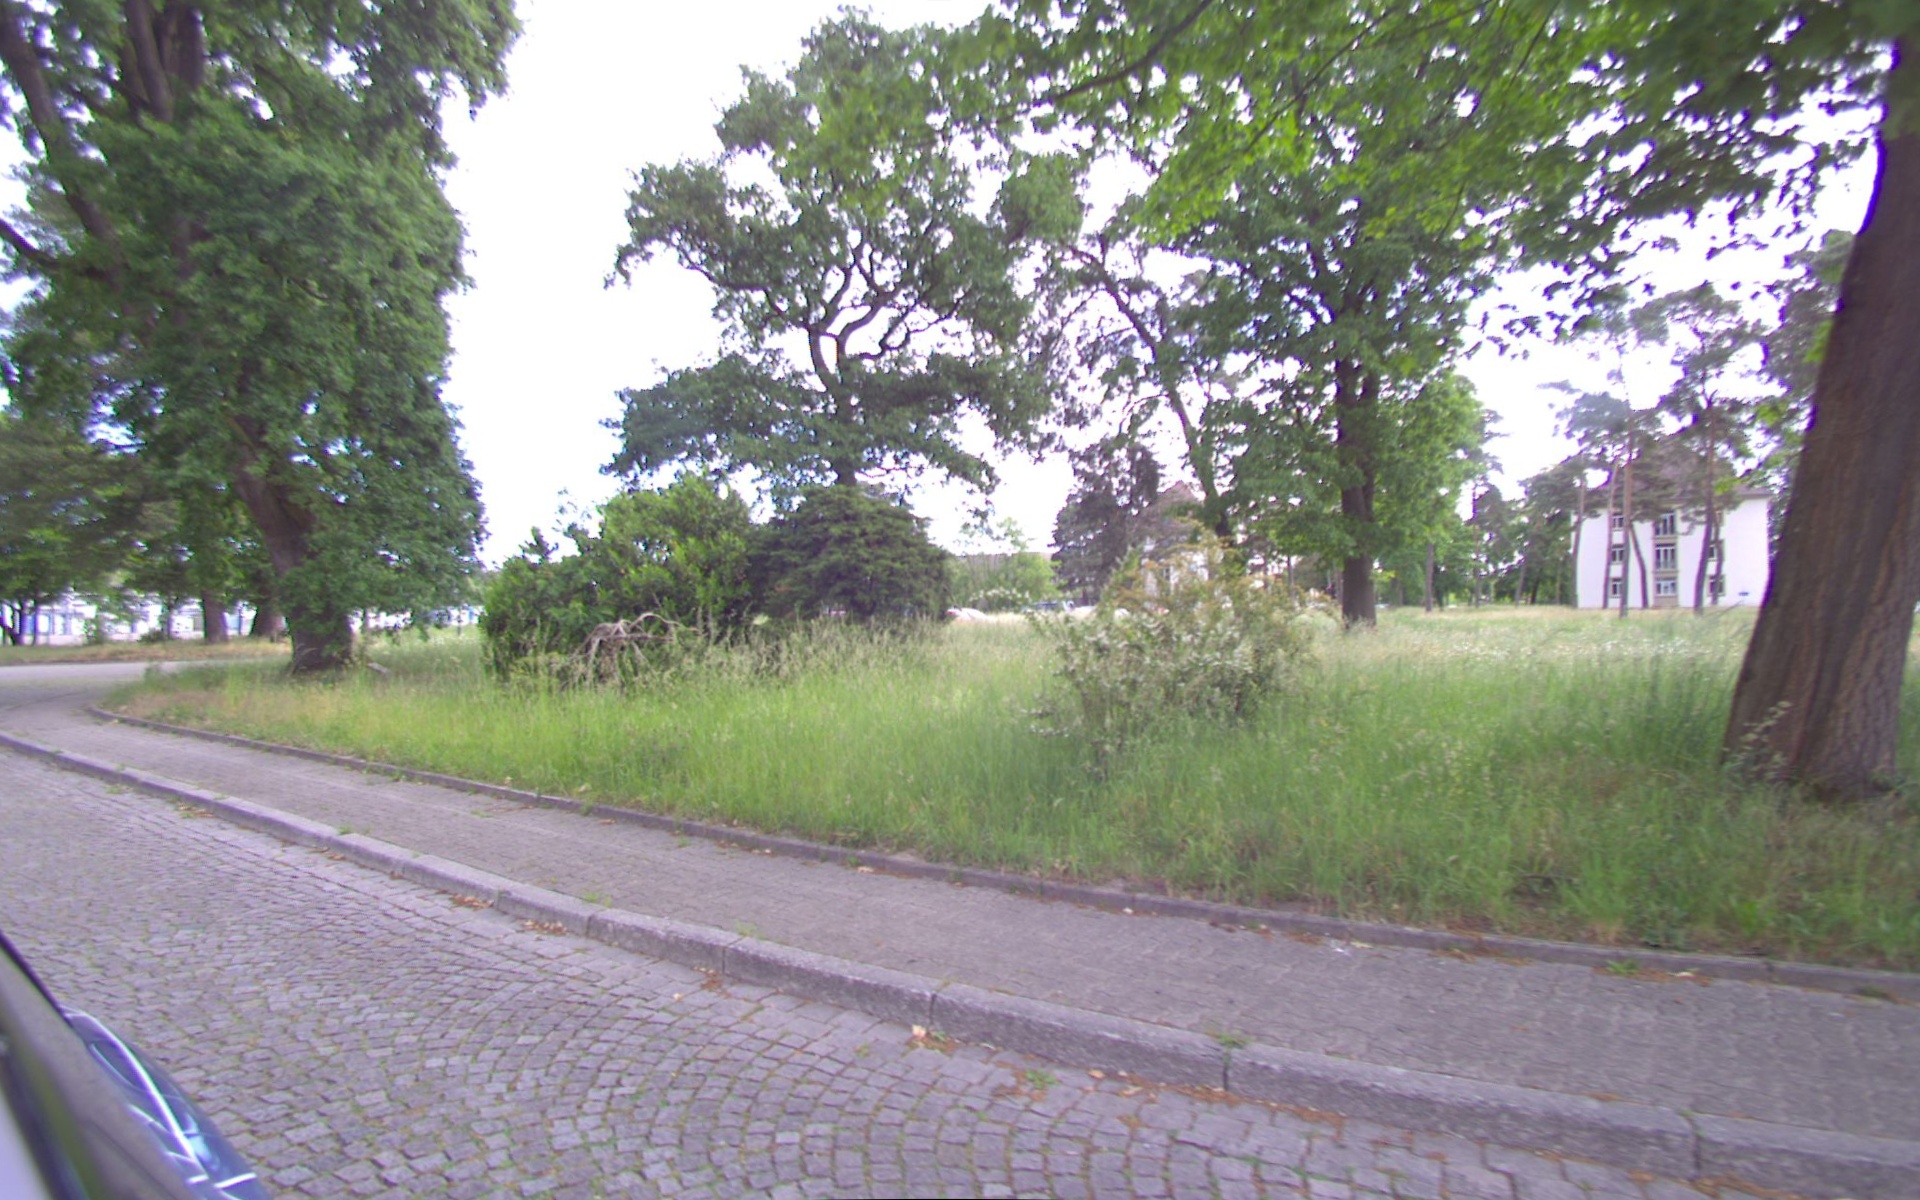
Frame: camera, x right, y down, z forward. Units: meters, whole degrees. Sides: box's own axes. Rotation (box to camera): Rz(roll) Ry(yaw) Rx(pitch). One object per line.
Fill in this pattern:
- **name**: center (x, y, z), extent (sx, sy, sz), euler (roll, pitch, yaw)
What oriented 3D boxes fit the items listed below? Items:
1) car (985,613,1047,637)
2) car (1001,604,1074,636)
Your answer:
- **car**: center (3.598, 1.614, 65.379), extent (3.687, 1.349, 1.565), euler (-4, -2, 36)
- **car**: center (5.157, 1.351, 67.324), extent (4.535, 1.916, 1.772), euler (-4, -2, 36)
